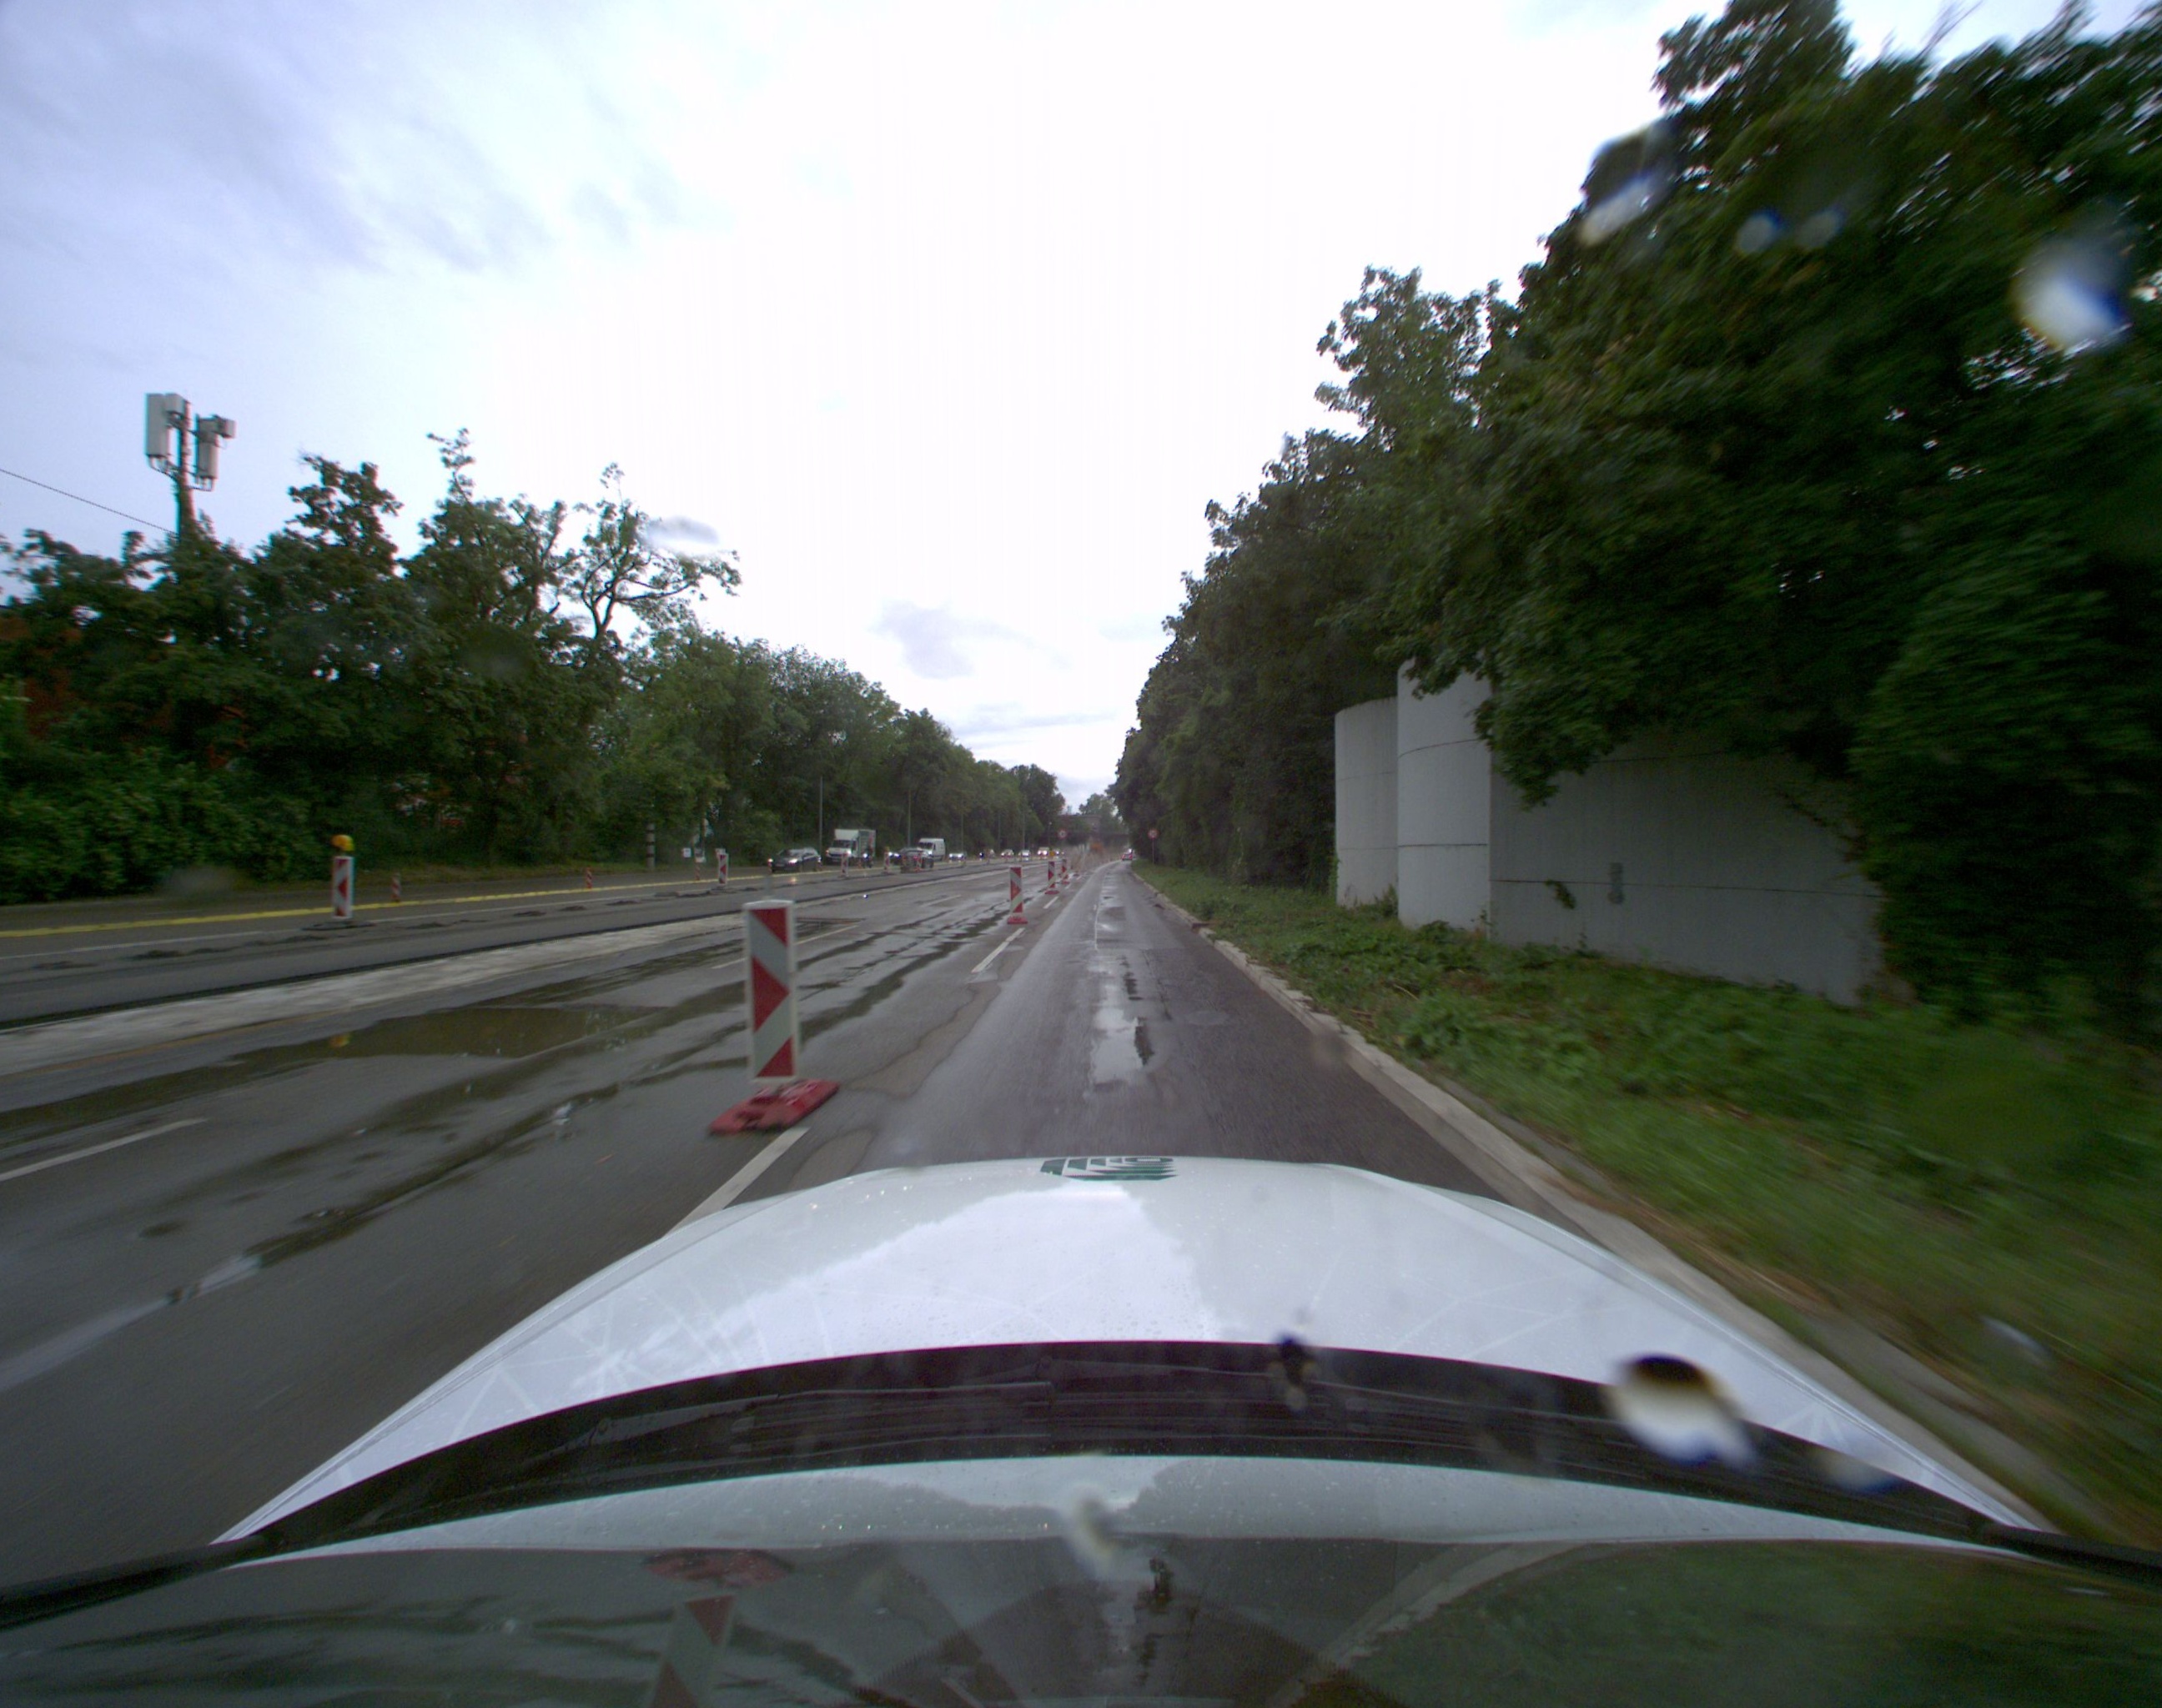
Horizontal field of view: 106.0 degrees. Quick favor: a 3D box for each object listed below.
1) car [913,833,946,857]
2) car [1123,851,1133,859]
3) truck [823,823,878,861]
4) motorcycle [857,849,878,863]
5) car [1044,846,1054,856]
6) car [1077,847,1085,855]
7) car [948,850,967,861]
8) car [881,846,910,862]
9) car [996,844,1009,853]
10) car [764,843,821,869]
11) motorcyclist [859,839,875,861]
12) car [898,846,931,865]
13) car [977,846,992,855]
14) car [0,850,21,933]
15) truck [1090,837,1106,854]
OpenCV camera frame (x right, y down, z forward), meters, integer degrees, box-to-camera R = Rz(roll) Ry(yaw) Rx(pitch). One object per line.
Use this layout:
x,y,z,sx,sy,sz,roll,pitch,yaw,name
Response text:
-17.027,-1.027,91.992,2.091,2.579,6.859,0,1,3,car
8.603,0.123,149.620,1.691,1.336,3.493,-2,0,2,car
-18.782,-1.009,66.718,2.236,2.940,6.941,0,1,3,truck
-15.744,0.133,60.006,0.825,1.014,2.368,1,1,2,motorcycle
-6.565,-0.627,167.217,1.663,1.808,4.324,0,1,3,car
-0.020,-0.824,193.442,1.663,1.808,4.324,0,2,3,car
-16.256,0.196,107.480,1.663,1.485,4.324,0,1,3,car
-18.256,-0.022,80.380,1.663,1.485,4.324,0,1,3,car
-14.039,-0.983,145.958,1.663,1.485,4.053,0,1,3,car
-16.525,0.100,46.925,1.664,1.415,4.321,0,1,1,car
-15.739,-0.313,59.899,0.825,1.564,0.927,1,0,1,motorcyclist
-12.922,0.121,63.387,1.601,1.404,4.044,0,1,3,car
-15.339,-0.539,129.638,1.663,1.485,4.324,0,1,3,car
-18.085,0.627,11.404,1.443,1.332,3.860,0,0,0,car
3.617,-1.807,171.190,3.247,3.497,13.878,0,1,2,truck
